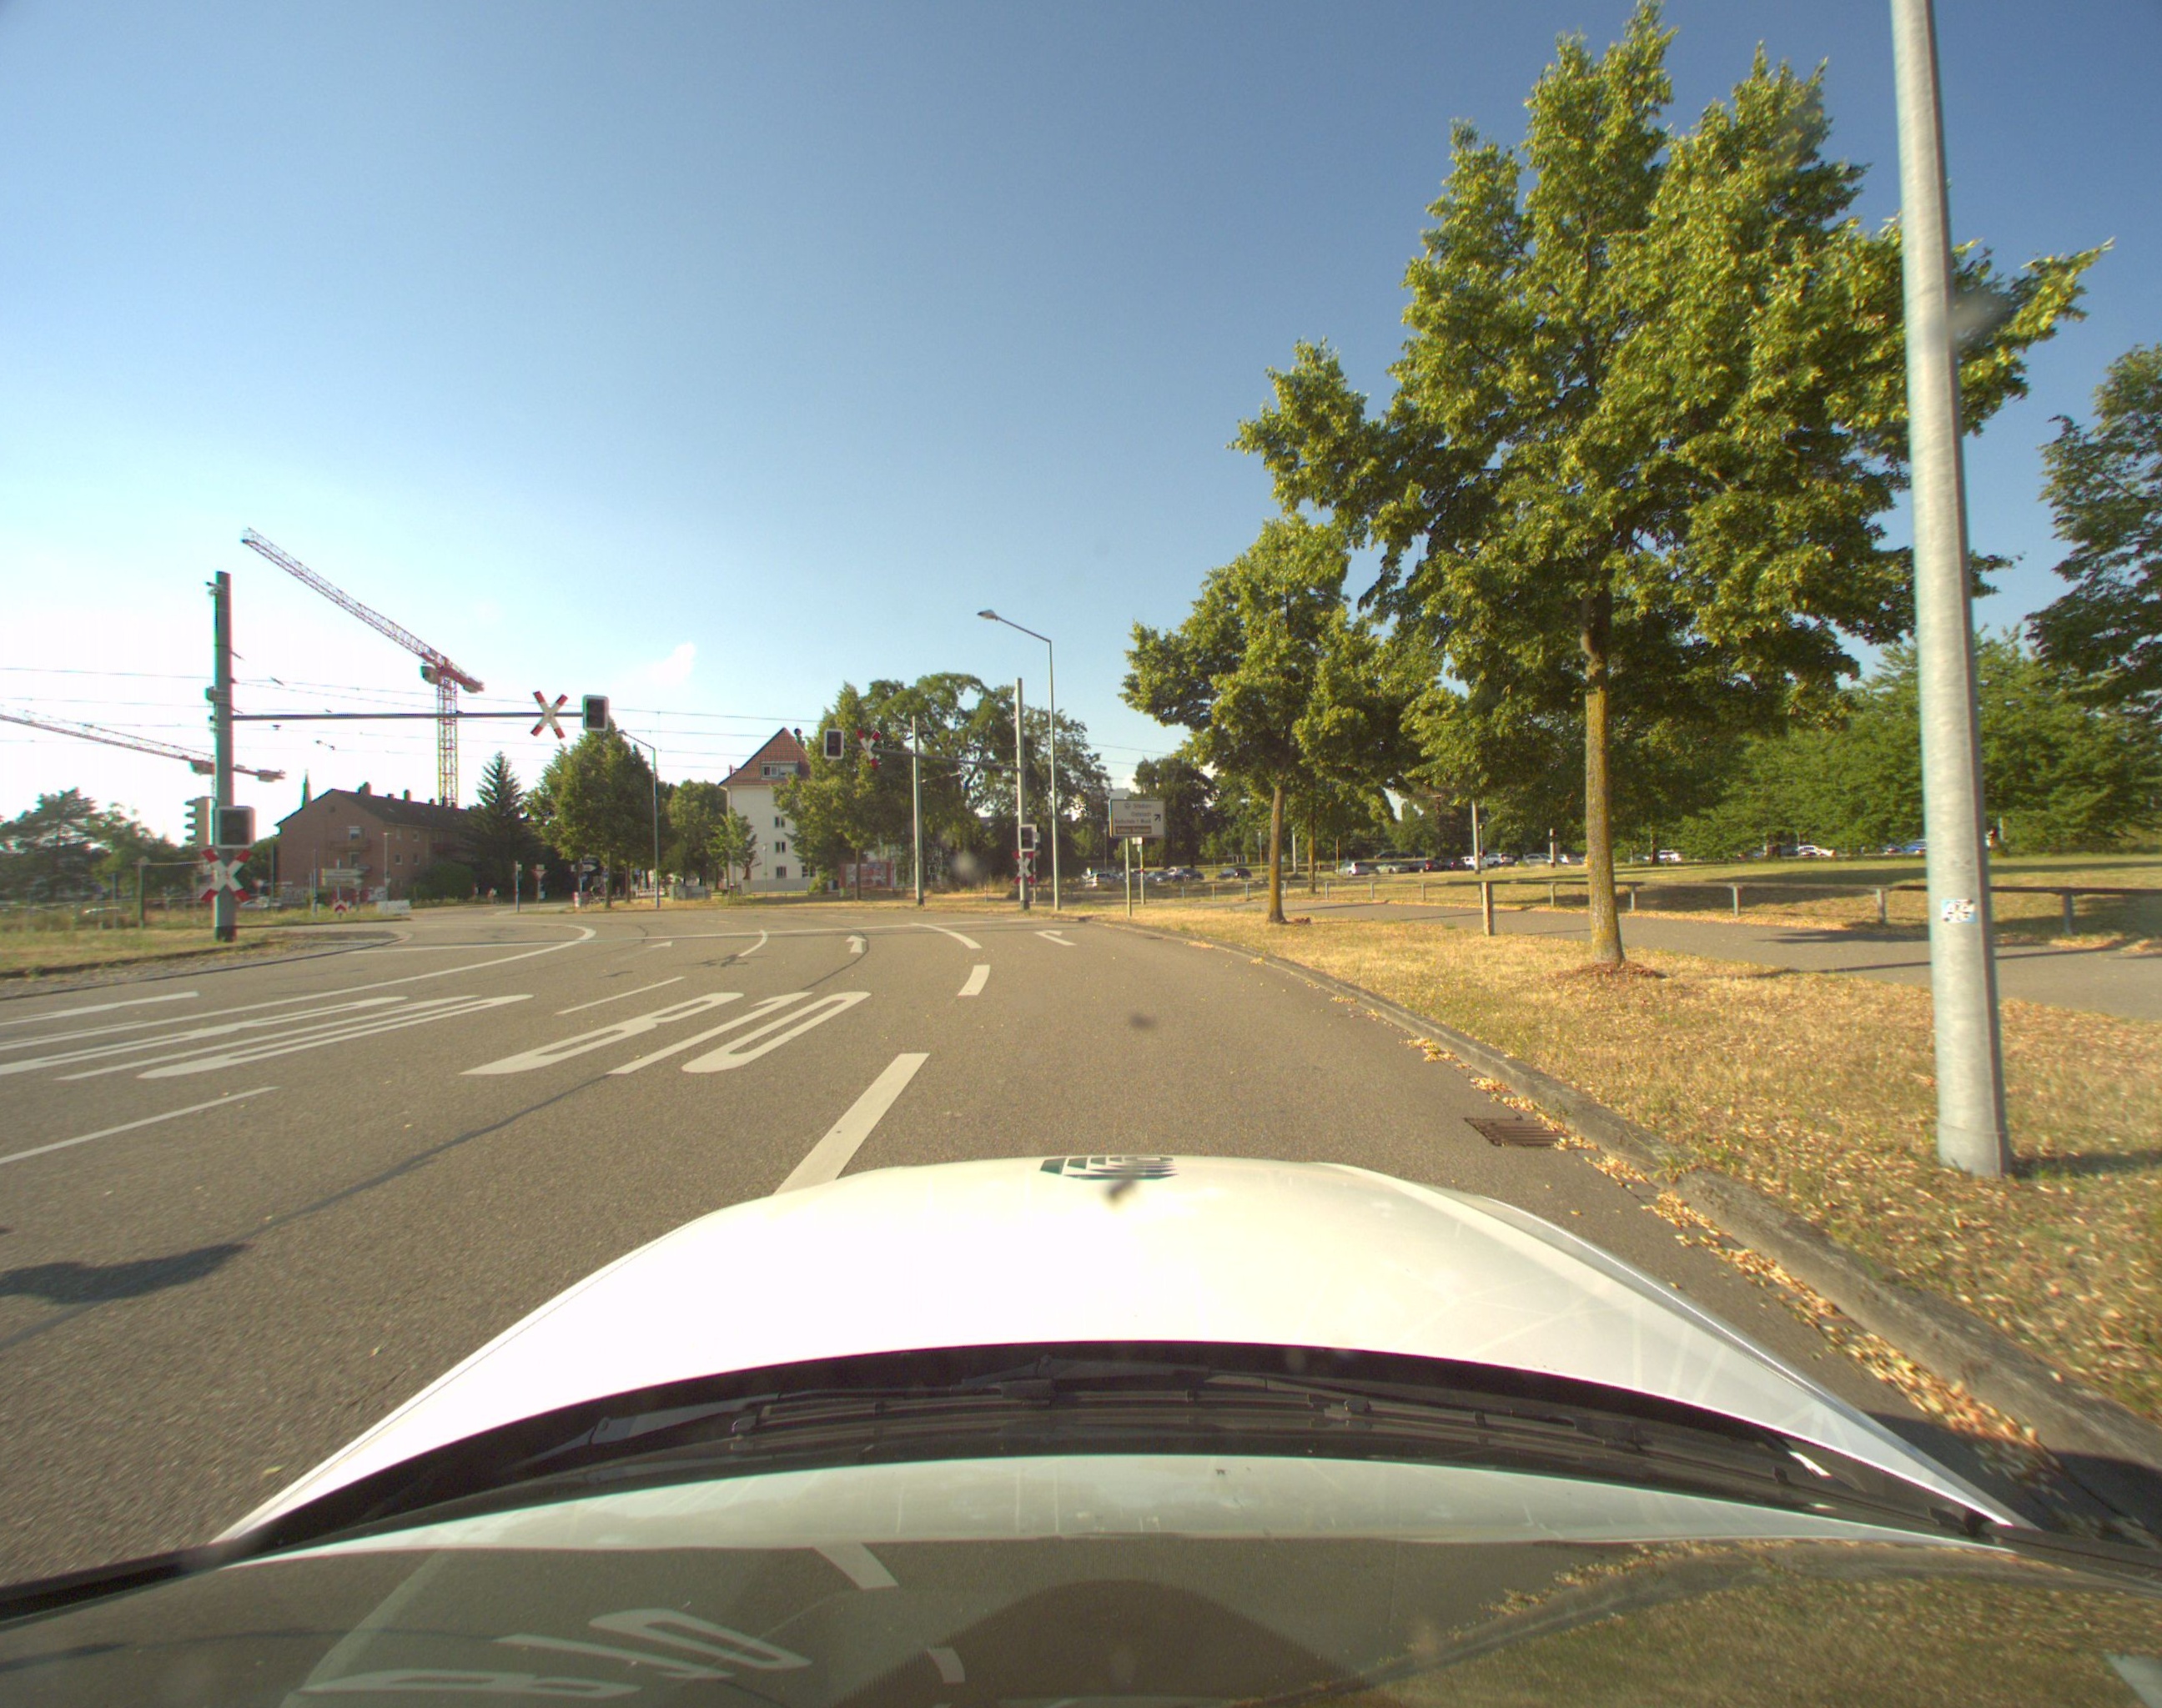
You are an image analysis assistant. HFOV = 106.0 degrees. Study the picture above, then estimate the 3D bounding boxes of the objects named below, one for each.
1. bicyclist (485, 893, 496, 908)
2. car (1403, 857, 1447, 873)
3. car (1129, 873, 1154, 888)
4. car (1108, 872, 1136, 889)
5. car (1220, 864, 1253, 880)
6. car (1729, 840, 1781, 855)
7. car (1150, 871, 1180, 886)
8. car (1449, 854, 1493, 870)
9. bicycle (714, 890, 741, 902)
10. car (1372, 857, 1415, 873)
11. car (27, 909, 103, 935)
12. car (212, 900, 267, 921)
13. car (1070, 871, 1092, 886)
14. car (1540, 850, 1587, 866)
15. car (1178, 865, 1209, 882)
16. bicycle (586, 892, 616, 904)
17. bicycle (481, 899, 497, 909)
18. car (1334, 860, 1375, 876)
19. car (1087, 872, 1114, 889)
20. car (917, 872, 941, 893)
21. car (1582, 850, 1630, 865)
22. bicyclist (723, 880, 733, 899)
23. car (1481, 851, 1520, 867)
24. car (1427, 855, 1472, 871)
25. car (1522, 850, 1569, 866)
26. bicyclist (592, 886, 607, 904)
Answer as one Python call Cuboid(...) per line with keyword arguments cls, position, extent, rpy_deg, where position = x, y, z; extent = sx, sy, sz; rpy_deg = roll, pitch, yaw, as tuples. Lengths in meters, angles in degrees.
Cuboid(cls="bicyclist", position=(-62.827, 4.914, 86.609), extent=(0.659, 1.562, 0.889), rpy_deg=(-2, -2, -15))
Cuboid(cls="car", position=(32.963, 1.094, 78.205), extent=(1.824, 1.403, 3.981), rpy_deg=(-2, -2, -14))
Cuboid(cls="car", position=(6.205, 2.725, 83.636), extent=(1.601, 1.402, 3.955), rpy_deg=(-2, -2, -9))
Cuboid(cls="car", position=(3.567, 2.299, 71.415), extent=(1.601, 1.402, 3.955), rpy_deg=(-2, -2, -9))
Cuboid(cls="car", position=(13.941, 1.617, 73.131), extent=(1.601, 1.310, 3.955), rpy_deg=(-2, -2, -9))
Cuboid(cls="car", position=(73.337, -0.703, 88.694), extent=(1.824, 1.403, 3.981), rpy_deg=(-2, -2, -14))
Cuboid(cls="car", position=(7.359, 2.136, 71.644), extent=(1.601, 1.221, 3.955), rpy_deg=(-2, -2, -9))
Cuboid(cls="car", position=(38.151, 0.789, 79.772), extent=(1.824, 1.403, 3.981), rpy_deg=(-2, -2, -14))
Cuboid(cls="bicycle", position=(-29.453, 3.470, 67.847), extent=(2.005, 0.918, 0.425), rpy_deg=(-1, -1, -43))
Cuboid(cls="car", position=(29.948, 1.107, 78.136), extent=(1.824, 1.403, 3.981), rpy_deg=(-2, -2, -14))
Cuboid(cls="car", position=(-88.230, 5.890, 70.754), extent=(3.821, 2.014, 1.661), rpy_deg=(-2, -2, -20))
Cuboid(cls="car", position=(-91.365, 6.164, 88.463), extent=(3.821, 2.014, 1.661), rpy_deg=(-2, -2, -20))
Cuboid(cls="car", position=(-0.010, 2.516, 82.838), extent=(1.601, 1.402, 3.955), rpy_deg=(-2, -2, -9))
Cuboid(cls="car", position=(48.921, 0.456, 82.591), extent=(1.824, 1.403, 3.981), rpy_deg=(-2, -2, -14))
Cuboid(cls="car", position=(9.910, 1.750, 72.272), extent=(1.601, 1.402, 3.955), rpy_deg=(-2, -2, -9))
Cuboid(cls="bicycle", position=(-38.025, 3.486, 64.538), extent=(2.005, 0.825, 0.425), rpy_deg=(-1, -1, -43))
Cuboid(cls="bicycle", position=(-62.788, 5.300, 86.405), extent=(0.598, 0.963, 2.095), rpy_deg=(-2, -2, -14))
Cuboid(cls="car", position=(25.728, 1.316, 76.745), extent=(1.824, 1.403, 3.981), rpy_deg=(-2, -2, -14))
Cuboid(cls="car", position=(1.642, 2.319, 70.815), extent=(1.601, 1.402, 3.955), rpy_deg=(-2, -2, -9))
Cuboid(cls="car", position=(-12.371, 2.349, 66.630), extent=(1.771, 1.618, 3.955), rpy_deg=(-2, -2, -9))
Cuboid(cls="car", position=(54.243, 0.375, 84.222), extent=(1.824, 1.403, 3.981), rpy_deg=(-2, -2, -14))
Cuboid(cls="bicyclist", position=(-29.433, 2.943, 67.901), extent=(0.627, 1.511, 0.413), rpy_deg=(-1, -1, -43))
Cuboid(cls="car", position=(48.484, 0.557, 94.177), extent=(1.824, 1.672, 3.981), rpy_deg=(-2, -2, -14))
Cuboid(cls="car", position=(35.645, 0.863, 78.861), extent=(1.824, 1.403, 3.981), rpy_deg=(-2, -2, -14))
Cuboid(cls="car", position=(46.519, 0.449, 81.569), extent=(1.824, 1.403, 3.981), rpy_deg=(-2, -2, -14))
Cuboid(cls="bicyclist", position=(-38.123, 3.224, 64.538), extent=(0.905, 1.396, 0.519), rpy_deg=(-1, -1, -43))
